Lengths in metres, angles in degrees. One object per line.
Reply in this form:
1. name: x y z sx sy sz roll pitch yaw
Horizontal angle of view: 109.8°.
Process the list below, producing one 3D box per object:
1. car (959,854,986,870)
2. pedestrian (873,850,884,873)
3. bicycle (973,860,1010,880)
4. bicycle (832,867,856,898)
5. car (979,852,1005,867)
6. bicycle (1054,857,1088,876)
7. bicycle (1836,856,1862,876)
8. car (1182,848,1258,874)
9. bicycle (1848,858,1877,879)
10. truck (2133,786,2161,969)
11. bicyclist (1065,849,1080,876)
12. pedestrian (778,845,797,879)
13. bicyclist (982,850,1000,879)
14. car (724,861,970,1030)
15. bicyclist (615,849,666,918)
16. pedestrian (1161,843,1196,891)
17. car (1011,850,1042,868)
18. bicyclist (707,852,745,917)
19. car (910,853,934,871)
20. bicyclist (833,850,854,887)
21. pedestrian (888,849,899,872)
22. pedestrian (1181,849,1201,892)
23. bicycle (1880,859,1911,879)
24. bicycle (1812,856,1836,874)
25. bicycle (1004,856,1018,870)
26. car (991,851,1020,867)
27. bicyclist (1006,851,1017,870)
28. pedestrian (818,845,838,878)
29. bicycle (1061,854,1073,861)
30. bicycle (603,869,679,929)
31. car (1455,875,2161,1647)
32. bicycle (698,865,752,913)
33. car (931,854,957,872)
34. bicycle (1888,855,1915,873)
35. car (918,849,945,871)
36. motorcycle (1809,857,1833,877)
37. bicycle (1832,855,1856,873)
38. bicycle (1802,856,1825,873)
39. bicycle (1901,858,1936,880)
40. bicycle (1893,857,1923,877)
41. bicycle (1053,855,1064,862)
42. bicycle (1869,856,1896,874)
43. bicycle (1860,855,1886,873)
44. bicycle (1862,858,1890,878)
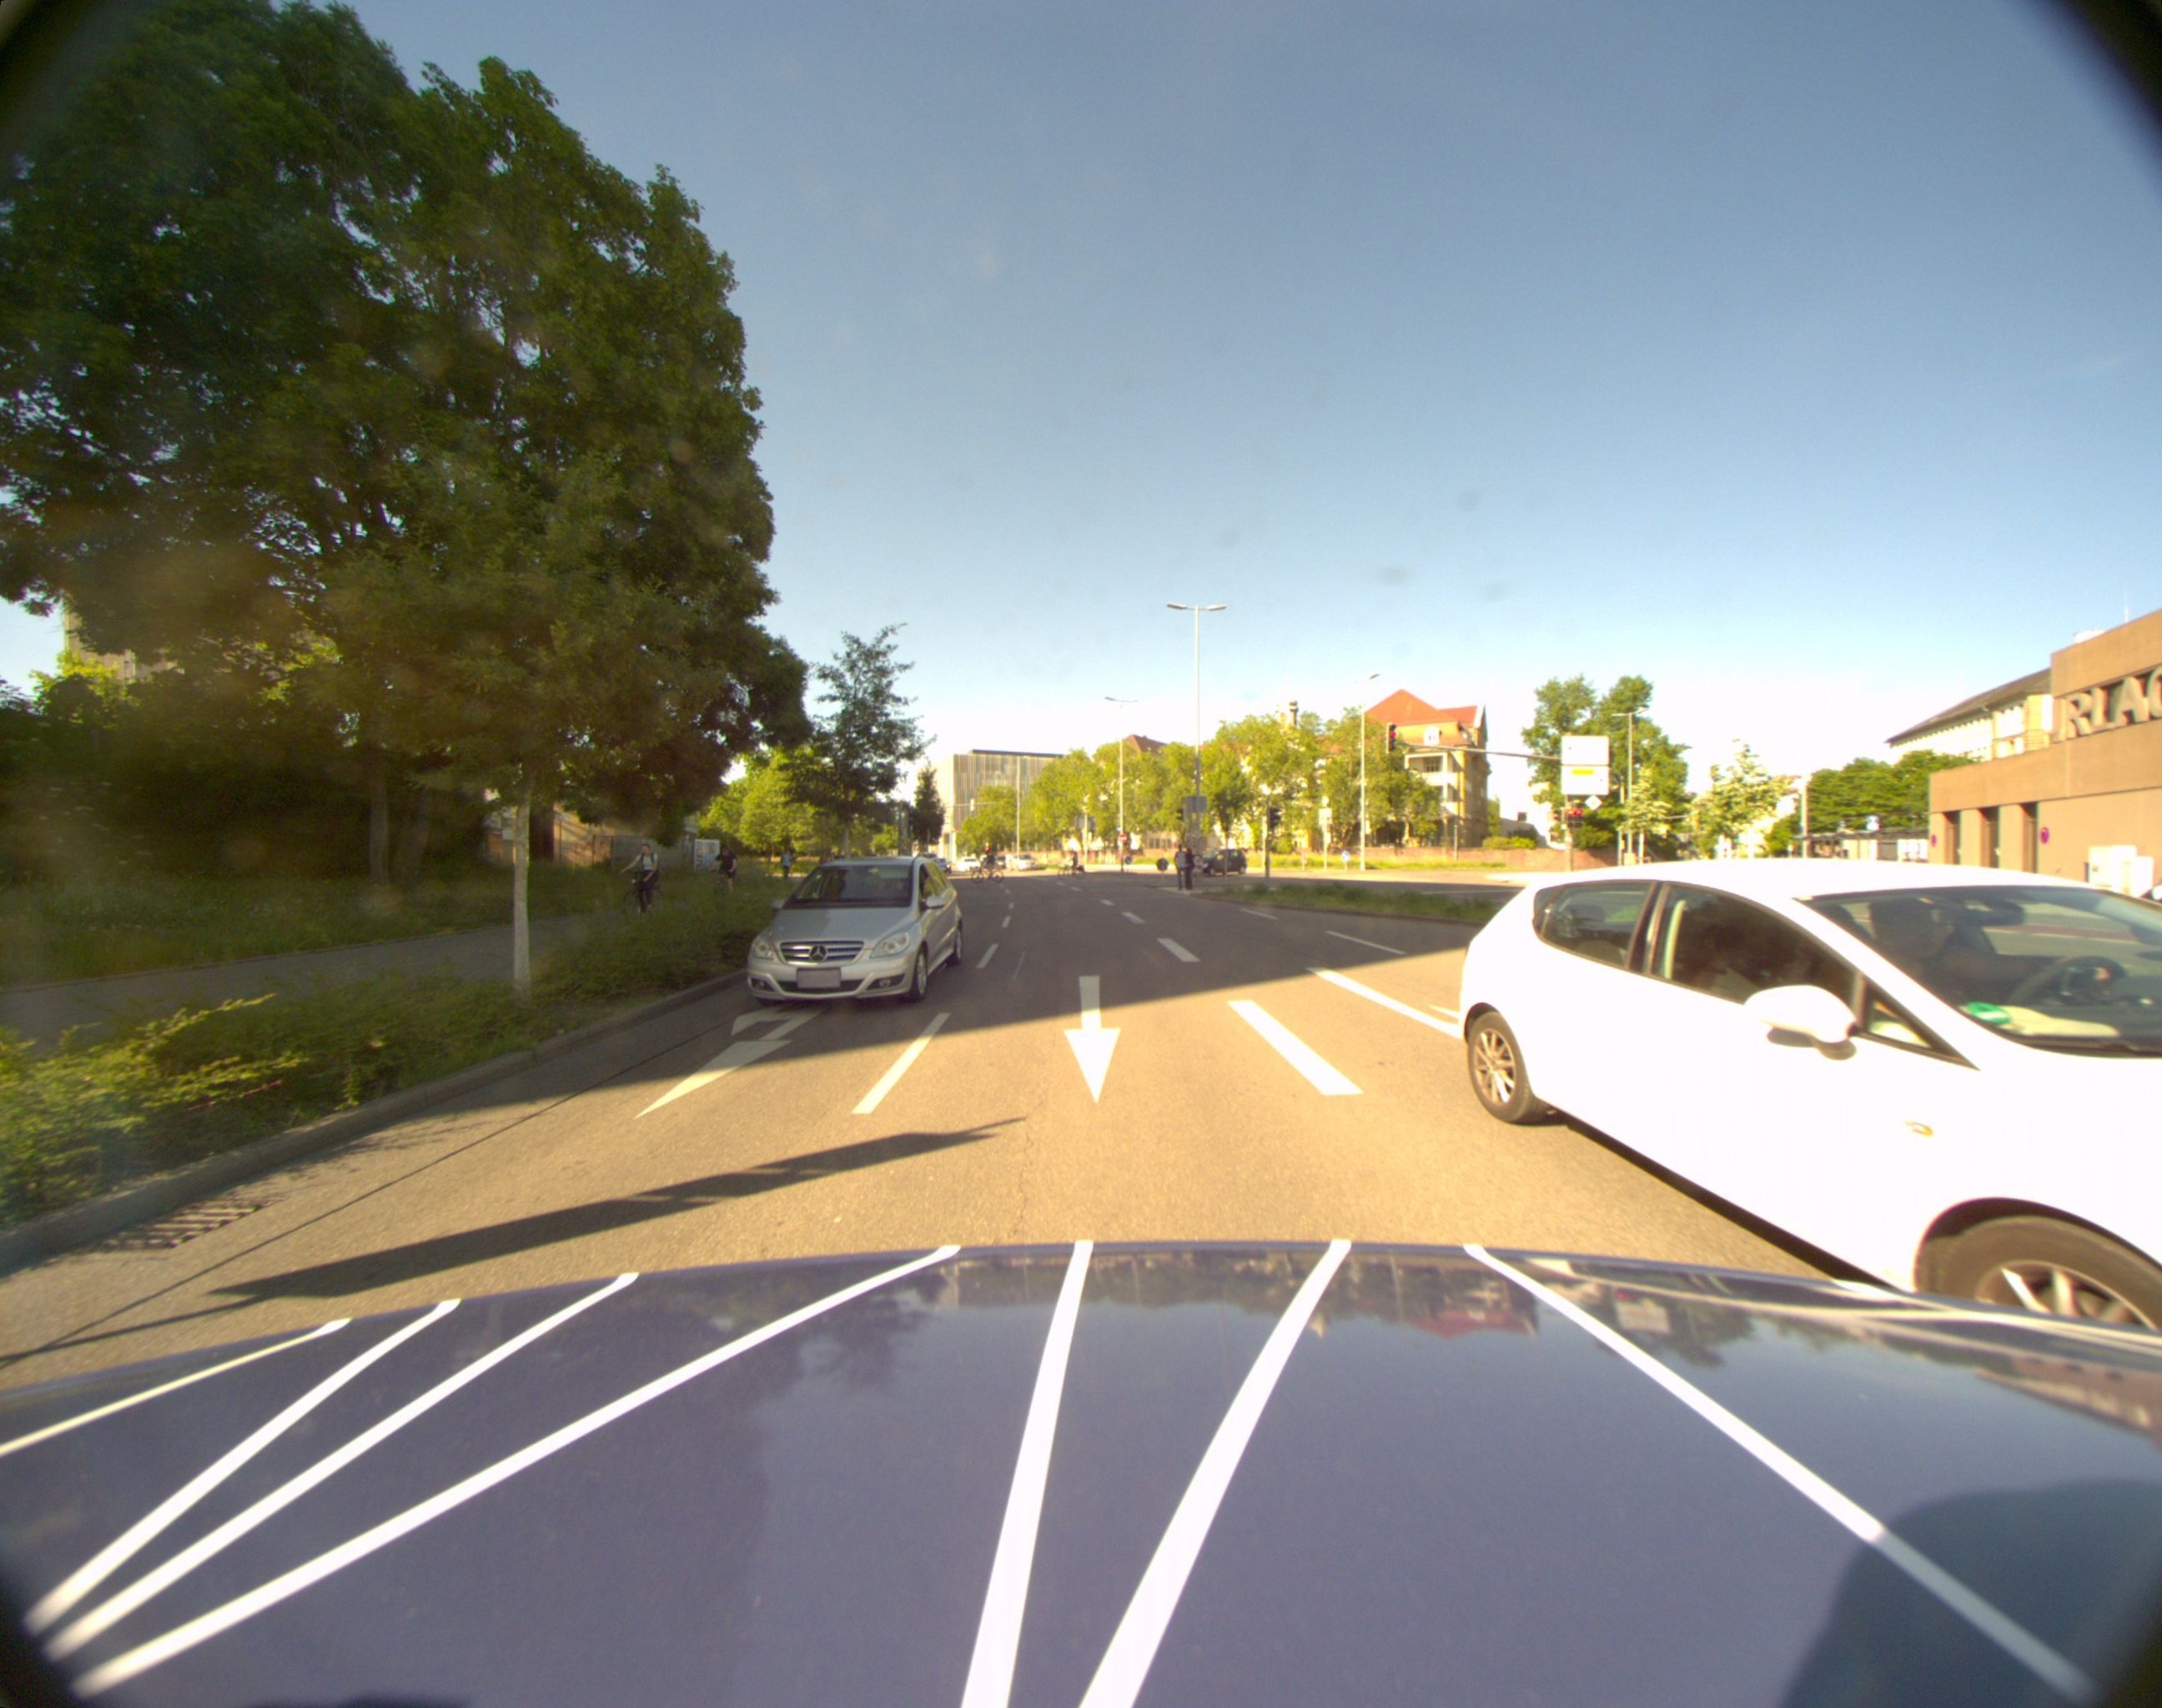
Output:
1. car: -10.148 0.713 70.822 2.001 1.460 3.995 -1 0 -14
2. pedestrian: -16.206 0.590 60.748 0.731 1.771 0.736 -1 -1 -5
3. bicycle: -5.154 0.922 43.684 1.970 1.158 0.777 0 -1 -23
4. bicycle: -9.338 1.112 29.984 0.643 1.158 1.868 -2 0 -10
5. car: -10.201 0.597 86.468 1.985 1.545 4.716 -2 0 -19
6. bicycle: -0.589 0.743 46.147 1.969 1.158 0.642 0 -1 -16
7. bicycle: 43.030 0.665 42.586 0.566 1.032 1.791 1 2 29
8. car: 8.421 0.449 45.896 4.306 1.464 1.995 0 -2 -35
9. bicycle: 42.123 0.779 40.966 0.566 1.032 1.791 1 2 29
10. truck: 14.854 0.297 6.413 2.220 2.300 6.881 -1 0 -3
11. bicyclist: -0.514 0.518 46.168 0.777 1.653 0.642 -1 0 -16
12. pedestrian: -14.194 0.390 36.734 0.679 1.633 0.734 0 -2 -38
13. bicyclist: -5.175 0.594 43.673 0.777 1.653 0.784 -1 0 -23
14. car: -2.618 0.916 9.727 1.771 1.584 4.637 0 0 -1
15. bicyclist: -9.391 0.620 16.233 0.643 1.436 0.776 2 1 -5
16. pedestrian: 3.801 0.483 29.538 1.097 1.822 0.754 -2 1 -31
17. car: -5.103 0.442 70.624 1.791 1.615 4.309 -2 0 -19
18. bicyclist: -9.159 0.774 19.608 0.643 1.635 0.776 0 0 -5
19. car: -17.099 0.820 81.680 1.941 1.788 4.353 -2 0 -19
20. bicyclist: -9.342 0.557 29.902 0.643 1.436 0.952 -1 1 -10
21. pedestrian: -14.996 0.558 60.863 0.731 1.805 0.736 -1 -1 -5
22. pedestrian: 4.079 0.605 28.210 0.681 1.603 0.720 0 1 12
23. bicycle: 43.223 0.783 40.341 0.566 1.032 1.791 1 2 29
24. bicycle: 45.078 0.673 46.087 0.566 1.032 1.791 1 2 29
25. bicycle: -6.066 0.812 66.021 0.749 1.158 1.866 0 1 -21
26. car: -7.913 0.530 79.308 1.985 1.545 4.716 -2 0 -19
27. bicyclist: -6.039 0.549 65.920 0.747 1.675 0.976 0 2 -21
28. pedestrian: -12.920 0.396 38.867 0.734 1.633 0.679 -2 -2 42
29. bicycle: -2.306 0.619 124.256 0.797 1.069 2.080 0 -2 -38
30. bicycle: -9.410 0.931 16.339 0.643 1.158 1.869 2 0 -5
31. car: 3.049 0.875 2.603 1.695 1.427 3.736 -2 0 1
32. bicycle: -9.179 0.887 19.646 0.643 1.158 1.869 0 0 -5
33. car: -12.214 0.780 67.531 1.706 1.433 3.993 -2 0 -19
34. bicycle: 49.562 0.617 45.924 0.566 1.032 1.791 1 2 29
35. car: -14.605 0.570 73.916 1.941 1.941 4.749 -2 0 -19
36. motorcycle: 41.077 0.719 42.190 0.593 1.112 1.989 0 0 34
37. bicycle: 47.323 0.608 47.143 0.566 1.032 1.791 1 2 29
38. bicycle: 46.098 0.639 47.836 0.566 1.032 1.791 1 2 29
39. bicycle: 41.158 0.733 37.356 0.566 1.032 1.791 1 2 29
40. bicycle: 45.332 0.718 41.686 0.566 1.032 1.791 1 2 29
41. bicycle: -3.781 0.709 126.070 0.797 1.069 2.080 0 -2 -38
42. bicycle: 47.217 0.639 44.782 0.566 1.032 1.791 1 2 29
43. bicycle: 48.476 0.625 46.505 0.566 1.032 1.791 1 2 29
44. bicycle: 44.167 0.757 42.232 0.566 1.032 1.791 1 2 29
